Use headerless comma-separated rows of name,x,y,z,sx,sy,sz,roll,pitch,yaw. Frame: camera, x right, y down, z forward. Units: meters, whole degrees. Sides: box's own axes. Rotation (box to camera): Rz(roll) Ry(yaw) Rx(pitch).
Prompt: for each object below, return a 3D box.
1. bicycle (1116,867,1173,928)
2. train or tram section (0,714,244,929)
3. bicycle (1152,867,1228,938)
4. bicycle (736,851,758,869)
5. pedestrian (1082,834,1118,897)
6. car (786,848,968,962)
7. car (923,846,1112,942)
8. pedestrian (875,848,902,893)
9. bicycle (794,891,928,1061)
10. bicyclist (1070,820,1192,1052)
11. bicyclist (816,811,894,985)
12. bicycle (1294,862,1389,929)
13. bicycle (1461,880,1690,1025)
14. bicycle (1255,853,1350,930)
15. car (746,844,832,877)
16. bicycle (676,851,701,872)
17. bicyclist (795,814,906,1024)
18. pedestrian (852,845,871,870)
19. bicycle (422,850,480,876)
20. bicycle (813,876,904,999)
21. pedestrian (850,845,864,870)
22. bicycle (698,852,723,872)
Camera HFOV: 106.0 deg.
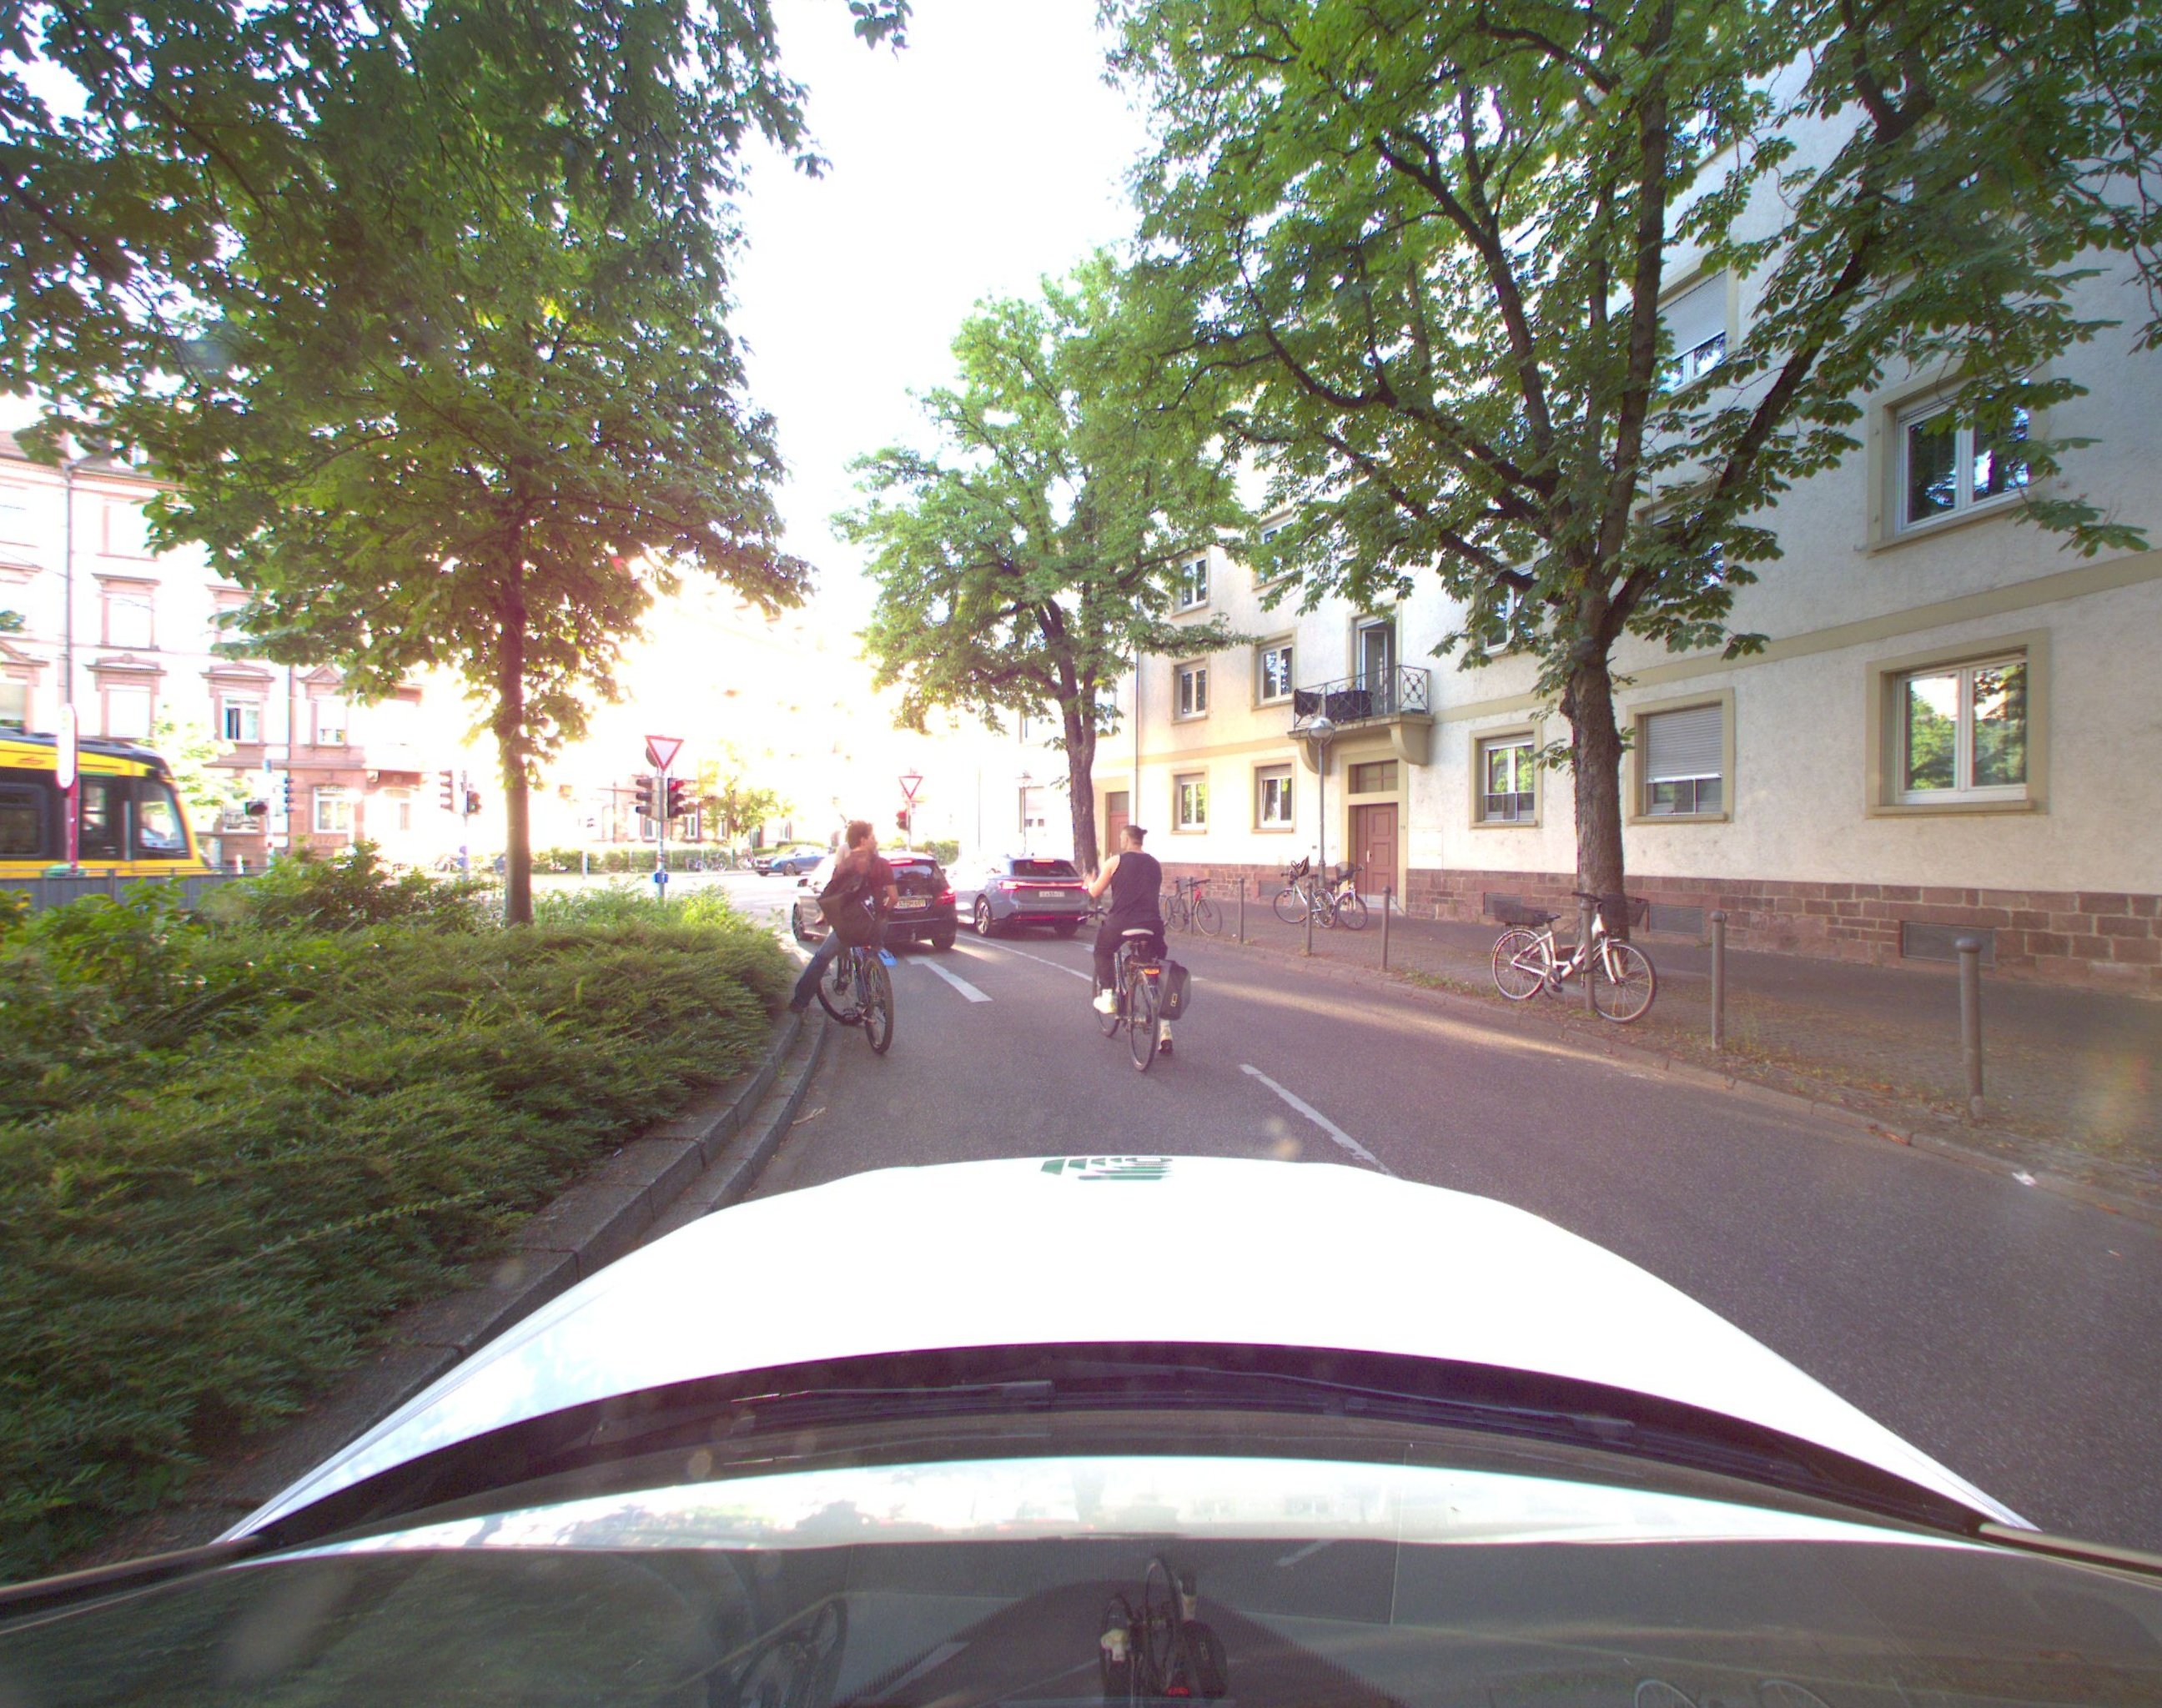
bicycle,1.237,0.826,16.096,0.482,1.063,1.625,-2,2,-20
train or tram section,-20.435,-0.554,11.532,2.769,3.619,11.857,1,0,19
bicycle,1.909,0.826,14.490,0.528,1.107,1.728,-3,2,-21
bicycle,-19.759,0.360,48.142,0.438,1.038,1.240,1,1,24
pedestrian,0.534,0.320,23.047,0.646,1.727,0.881,-3,2,-25
car,-3.482,0.702,13.399,1.802,1.542,3.821,-2,1,-32
car,-1.411,0.685,15.951,1.982,1.585,4.433,2,-1,-29
pedestrian,-7.312,0.627,30.935,0.904,1.635,0.721,2,1,-19
bicycle,-1.904,0.916,6.837,0.721,1.107,1.950,1,0,-26
bicyclist,0.364,0.583,6.395,0.687,1.656,0.985,-1,0,-13
bicyclist,-2.664,0.479,9.544,0.797,1.913,0.938,1,0,-21
bicycle,4.720,0.717,14.913,0.669,1.107,1.955,1,0,-17
bicycle,4.492,0.828,7.598,0.514,1.095,1.962,-2,1,-18
bicycle,4.009,0.644,14.914,0.719,1.277,1.954,-1,1,-18
car,-15.581,0.305,43.708,1.926,1.650,4.432,0,0,19
bicycle,-21.419,0.409,44.442,0.438,1.107,1.241,1,1,25
bicyclist,-1.912,0.484,6.698,0.710,1.573,0.949,1,0,-26
pedestrian,-14.886,0.250,55.220,0.703,1.664,0.904,4,2,36
bicycle,-28.120,0.389,36.383,1.975,1.107,0.438,2,-1,-38
bicycle,-2.645,0.882,9.498,0.813,1.184,2.211,0,0,-21
pedestrian,-15.420,0.230,56.085,0.655,1.715,0.640,0,0,32
bicycle,-20.791,0.440,45.732,0.438,1.107,1.241,1,1,25
